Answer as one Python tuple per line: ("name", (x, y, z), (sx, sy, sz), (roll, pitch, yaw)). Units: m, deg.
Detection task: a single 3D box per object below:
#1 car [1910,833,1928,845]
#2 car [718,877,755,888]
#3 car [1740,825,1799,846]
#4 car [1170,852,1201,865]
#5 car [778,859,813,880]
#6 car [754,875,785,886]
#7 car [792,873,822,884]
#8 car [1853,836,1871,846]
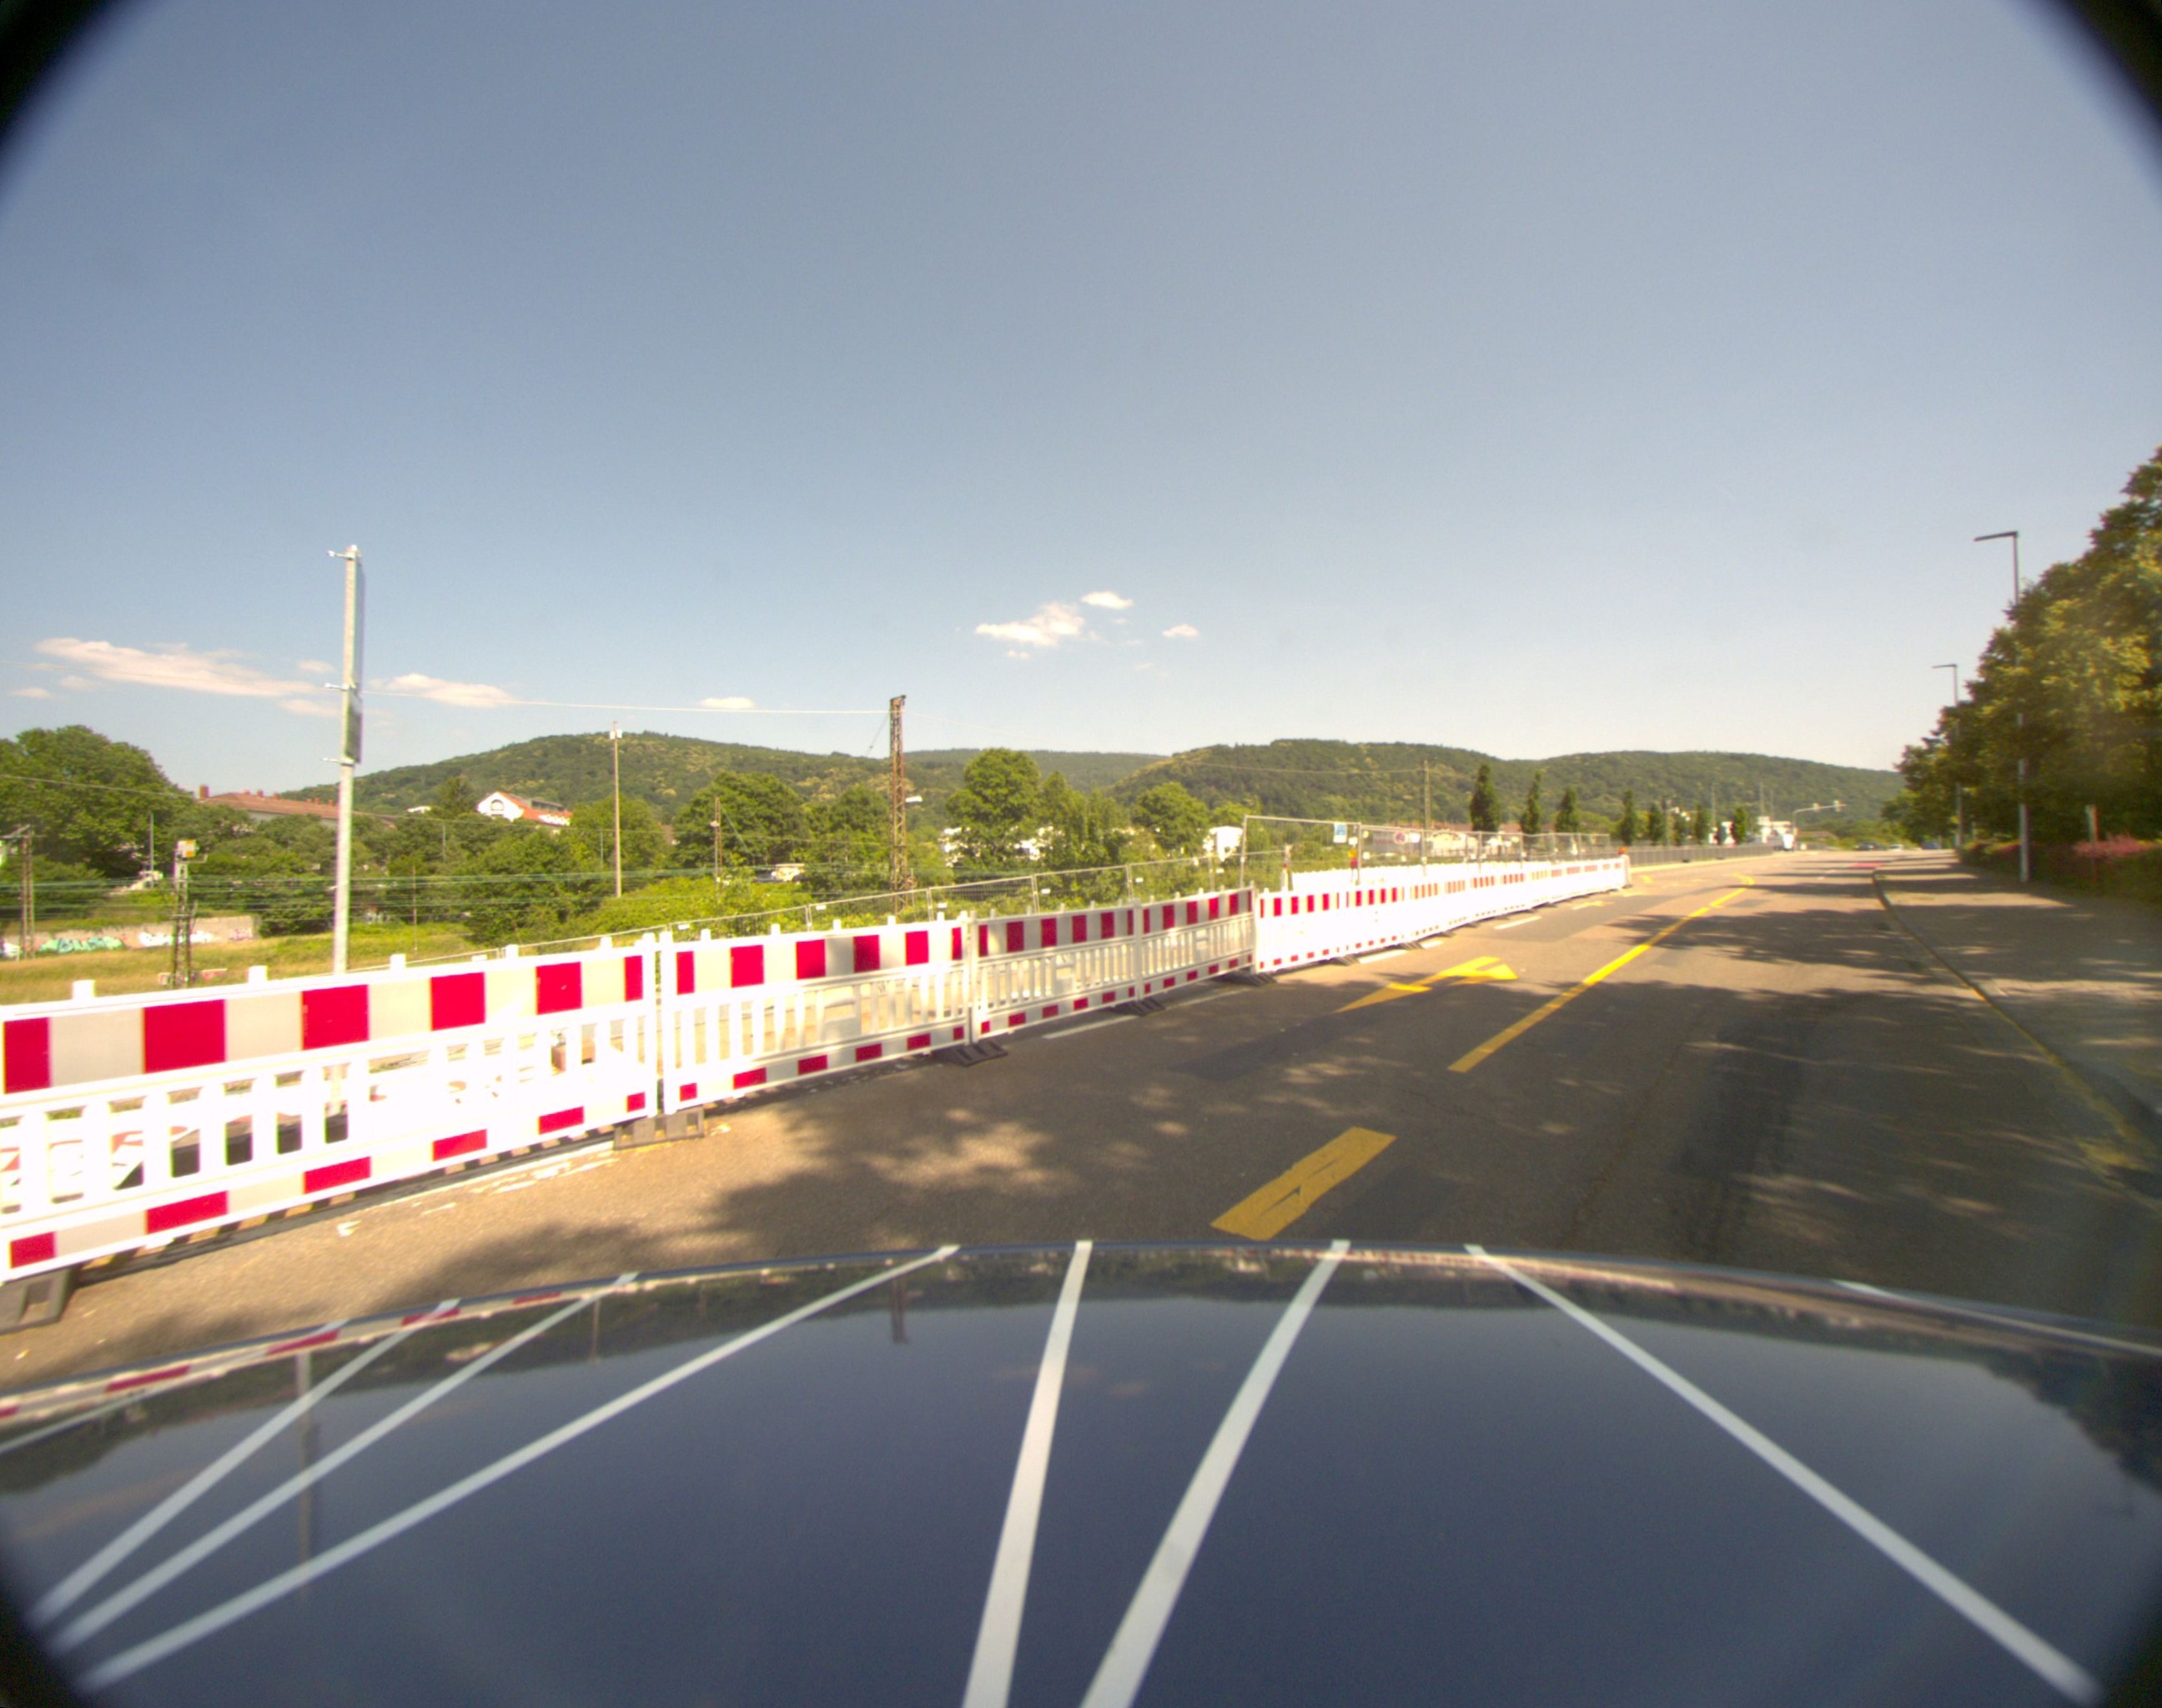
("car", (117.297, -2.091, 106.380), (3.690, 1.526, 1.606), (-2, 0, -43))
("car", (-47.931, 3.906, 105.685), (4.317, 1.359, 1.864), (-2, 0, -13))
("car", (95.754, -2.561, 105.724), (2.314, 2.331, 5.621), (-4, -1, -15))
("car", (20.196, 0.904, 146.480), (5.527, 2.088, 2.132), (-3, -4, -31))
("car", (-41.387, 2.282, 110.204), (4.645, 2.835, 1.862), (-2, 0, -22))
("car", (-43.733, 3.774, 106.701), (3.844, 1.359, 1.781), (-2, 0, -14))
("car", (-38.954, 3.522, 107.924), (3.845, 1.359, 1.781), (-2, 0, -17))
("car", (108.445, -1.781, 105.487), (3.690, 1.248, 1.606), (-2, 0, -43))
